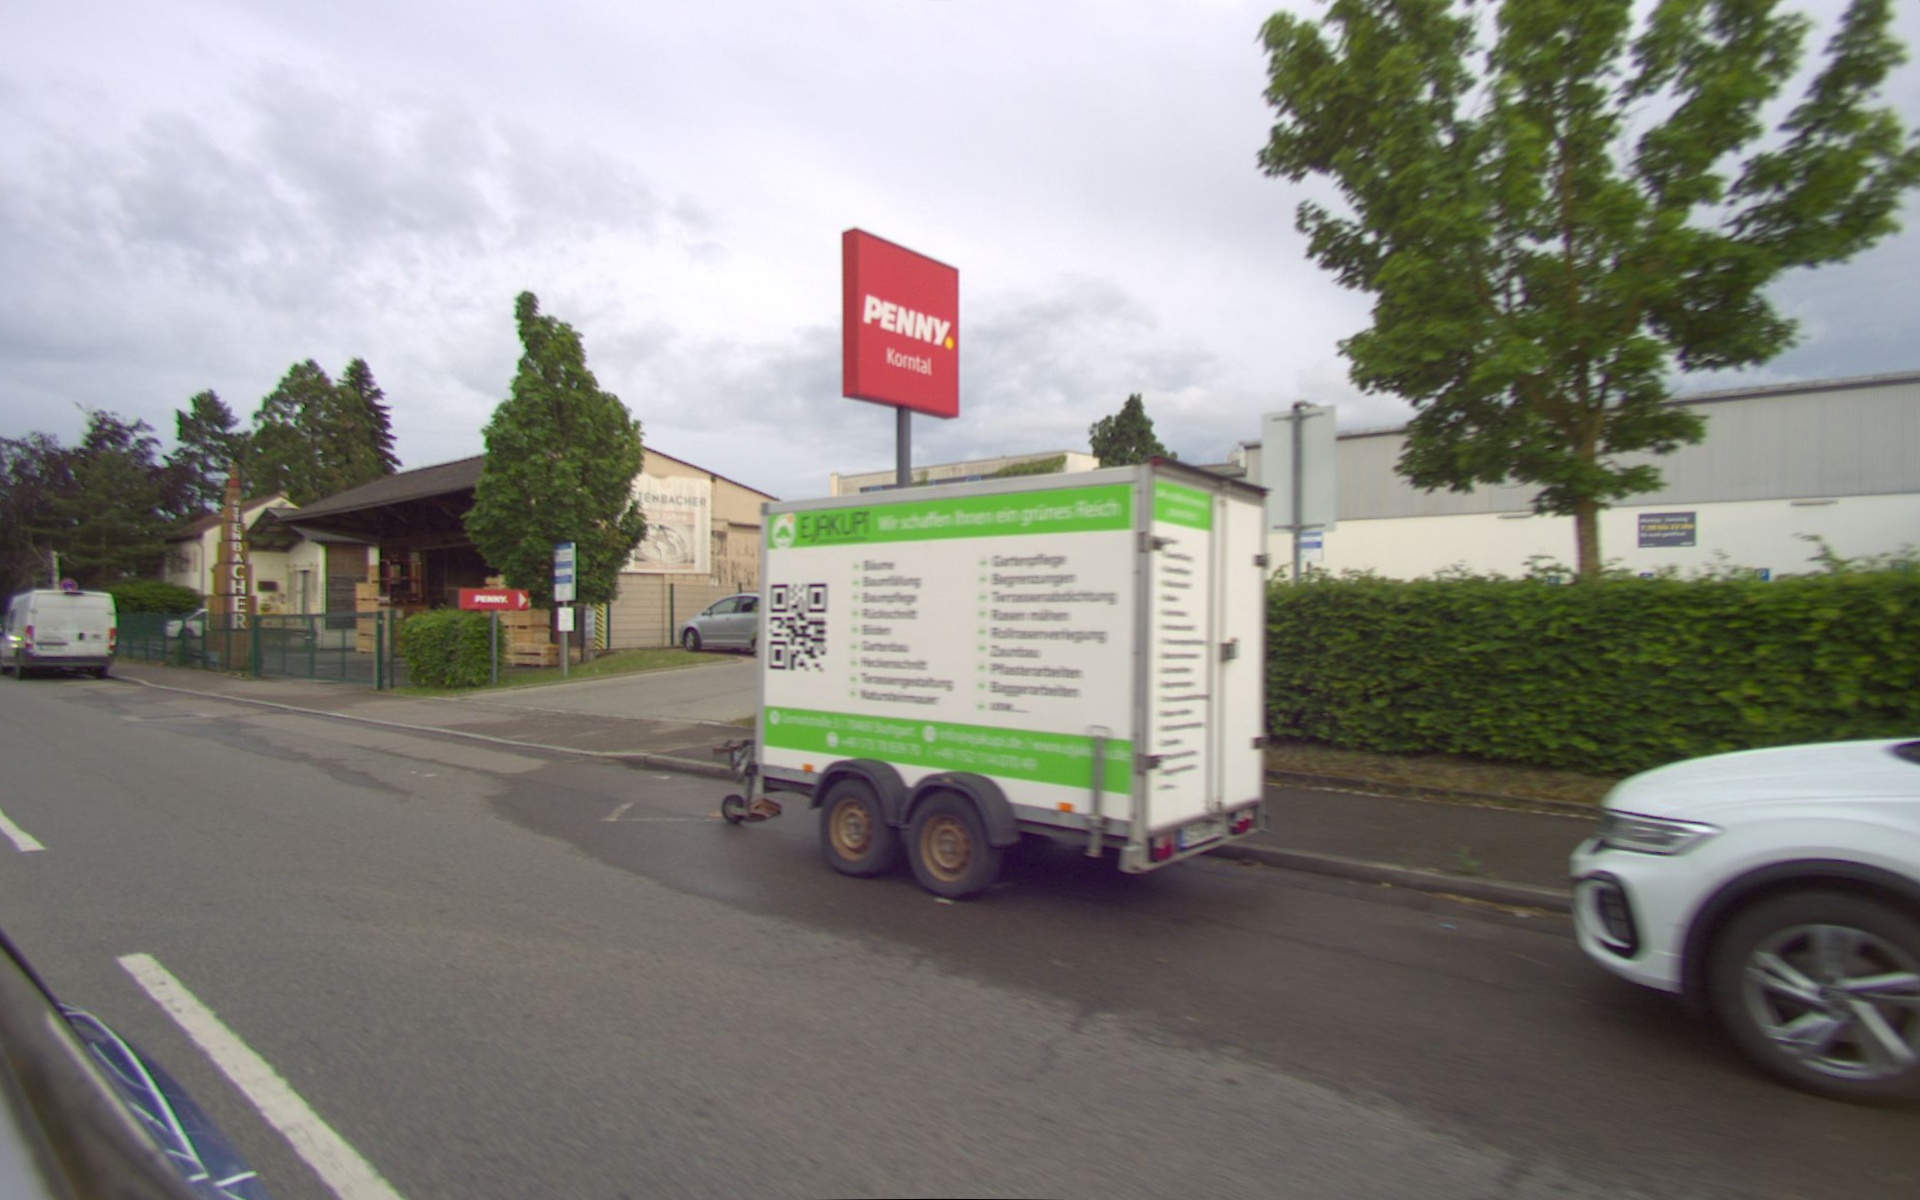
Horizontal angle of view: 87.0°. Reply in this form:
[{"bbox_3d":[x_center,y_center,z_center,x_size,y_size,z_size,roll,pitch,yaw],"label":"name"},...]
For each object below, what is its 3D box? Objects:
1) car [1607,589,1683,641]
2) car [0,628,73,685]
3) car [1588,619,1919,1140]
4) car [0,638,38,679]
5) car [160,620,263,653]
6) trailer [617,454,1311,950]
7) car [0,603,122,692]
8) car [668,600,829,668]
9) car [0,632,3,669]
[{"bbox_3d":[22.853,0.470,33.721,1.659,1.618,3.687,-1,0,41],"label":"car"},{"bbox_3d":[-31.683,1.892,34.304,4.444,1.782,1.751,-1,-5,41],"label":"car"},{"bbox_3d":[4.323,0.785,2.824,4.133,1.510,1.754,-3,-2,40],"label":"car"},{"bbox_3d":[-36.600,2.185,38.448,4.313,1.459,1.645,-1,-3,39],"label":"car"},{"bbox_3d":[-47.140,2.244,63.789,2.000,1.871,4.945,-1,0,42],"label":"car"},{"bbox_3d":[-0.245,0.572,6.988,4.726,2.332,1.794,-2,-4,40],"label":"trailer"},{"bbox_3d":[-27.426,1.434,30.557,6.455,2.445,2.135,-2,-5,41],"label":"car"},{"bbox_3d":[-5.434,0.846,25.838,4.034,1.599,1.632,-1,0,34],"label":"car"},{"bbox_3d":[-43.449,2.190,44.415,3.913,1.596,1.644,-1,-3,40],"label":"car"}]
